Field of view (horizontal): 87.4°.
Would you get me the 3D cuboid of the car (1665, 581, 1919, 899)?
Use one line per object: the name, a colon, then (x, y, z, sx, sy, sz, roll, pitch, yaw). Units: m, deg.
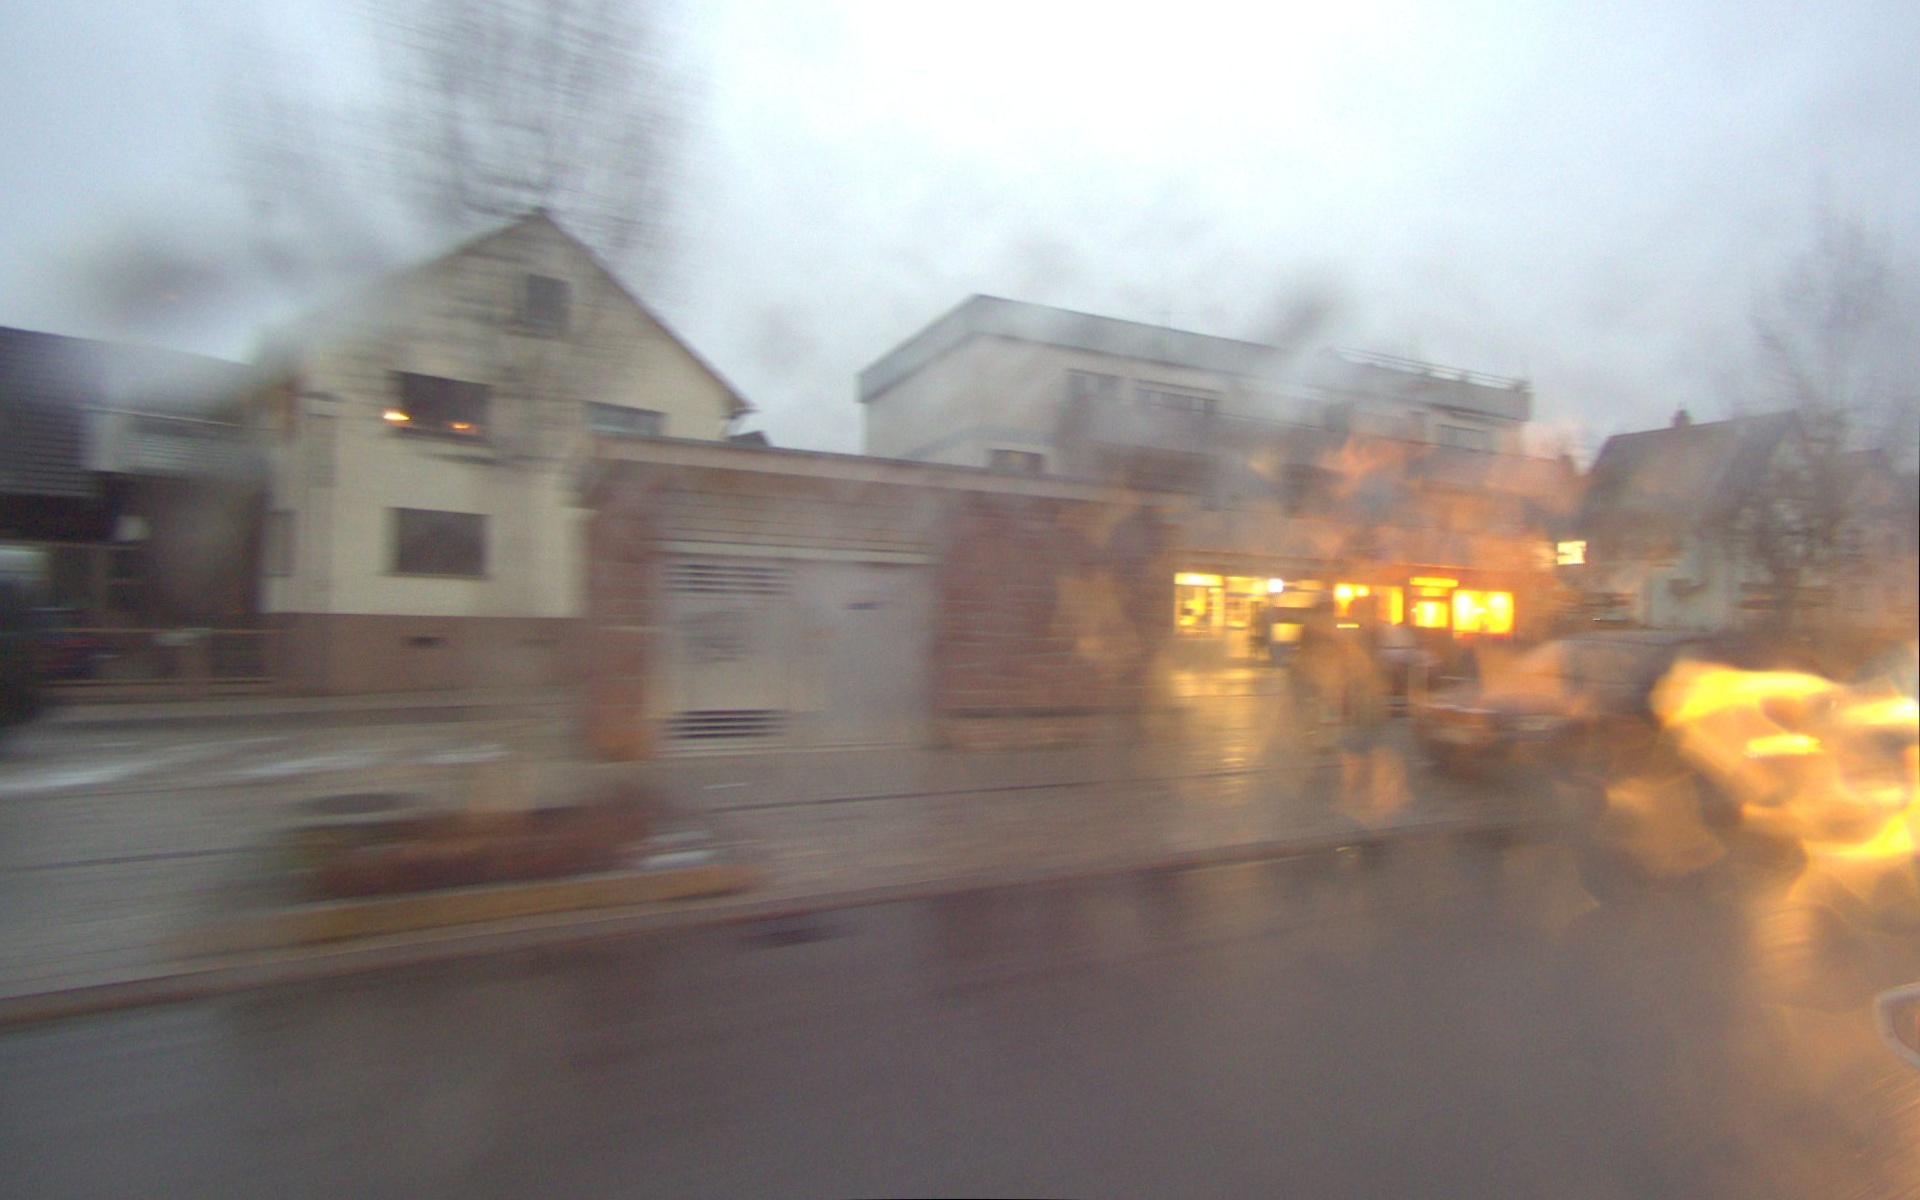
car: (7.687, 0.875, 7.254, 4.676, 1.885, 2.136, 1, -3, -24)

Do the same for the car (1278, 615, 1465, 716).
car: (6.736, 1.060, 16.935, 1.704, 1.496, 4.091, 0, -2, 4)

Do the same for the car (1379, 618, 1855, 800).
car: (6.551, 0.968, 10.023, 4.392, 1.492, 1.744, 1, 0, -21)

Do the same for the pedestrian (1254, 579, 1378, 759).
pedestrian: (3.910, 0.740, 11.062, 1.044, 1.891, 0.753, 1, -1, -19)

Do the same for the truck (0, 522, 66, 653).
truck: (-24.086, -0.324, 24.913, 2.764, 2.991, 5.788, 2, 0, -41)

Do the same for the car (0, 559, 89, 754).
car: (-10.312, 0.488, 8.125, 2.034, 1.910, 5.396, 0, -2, -4)
